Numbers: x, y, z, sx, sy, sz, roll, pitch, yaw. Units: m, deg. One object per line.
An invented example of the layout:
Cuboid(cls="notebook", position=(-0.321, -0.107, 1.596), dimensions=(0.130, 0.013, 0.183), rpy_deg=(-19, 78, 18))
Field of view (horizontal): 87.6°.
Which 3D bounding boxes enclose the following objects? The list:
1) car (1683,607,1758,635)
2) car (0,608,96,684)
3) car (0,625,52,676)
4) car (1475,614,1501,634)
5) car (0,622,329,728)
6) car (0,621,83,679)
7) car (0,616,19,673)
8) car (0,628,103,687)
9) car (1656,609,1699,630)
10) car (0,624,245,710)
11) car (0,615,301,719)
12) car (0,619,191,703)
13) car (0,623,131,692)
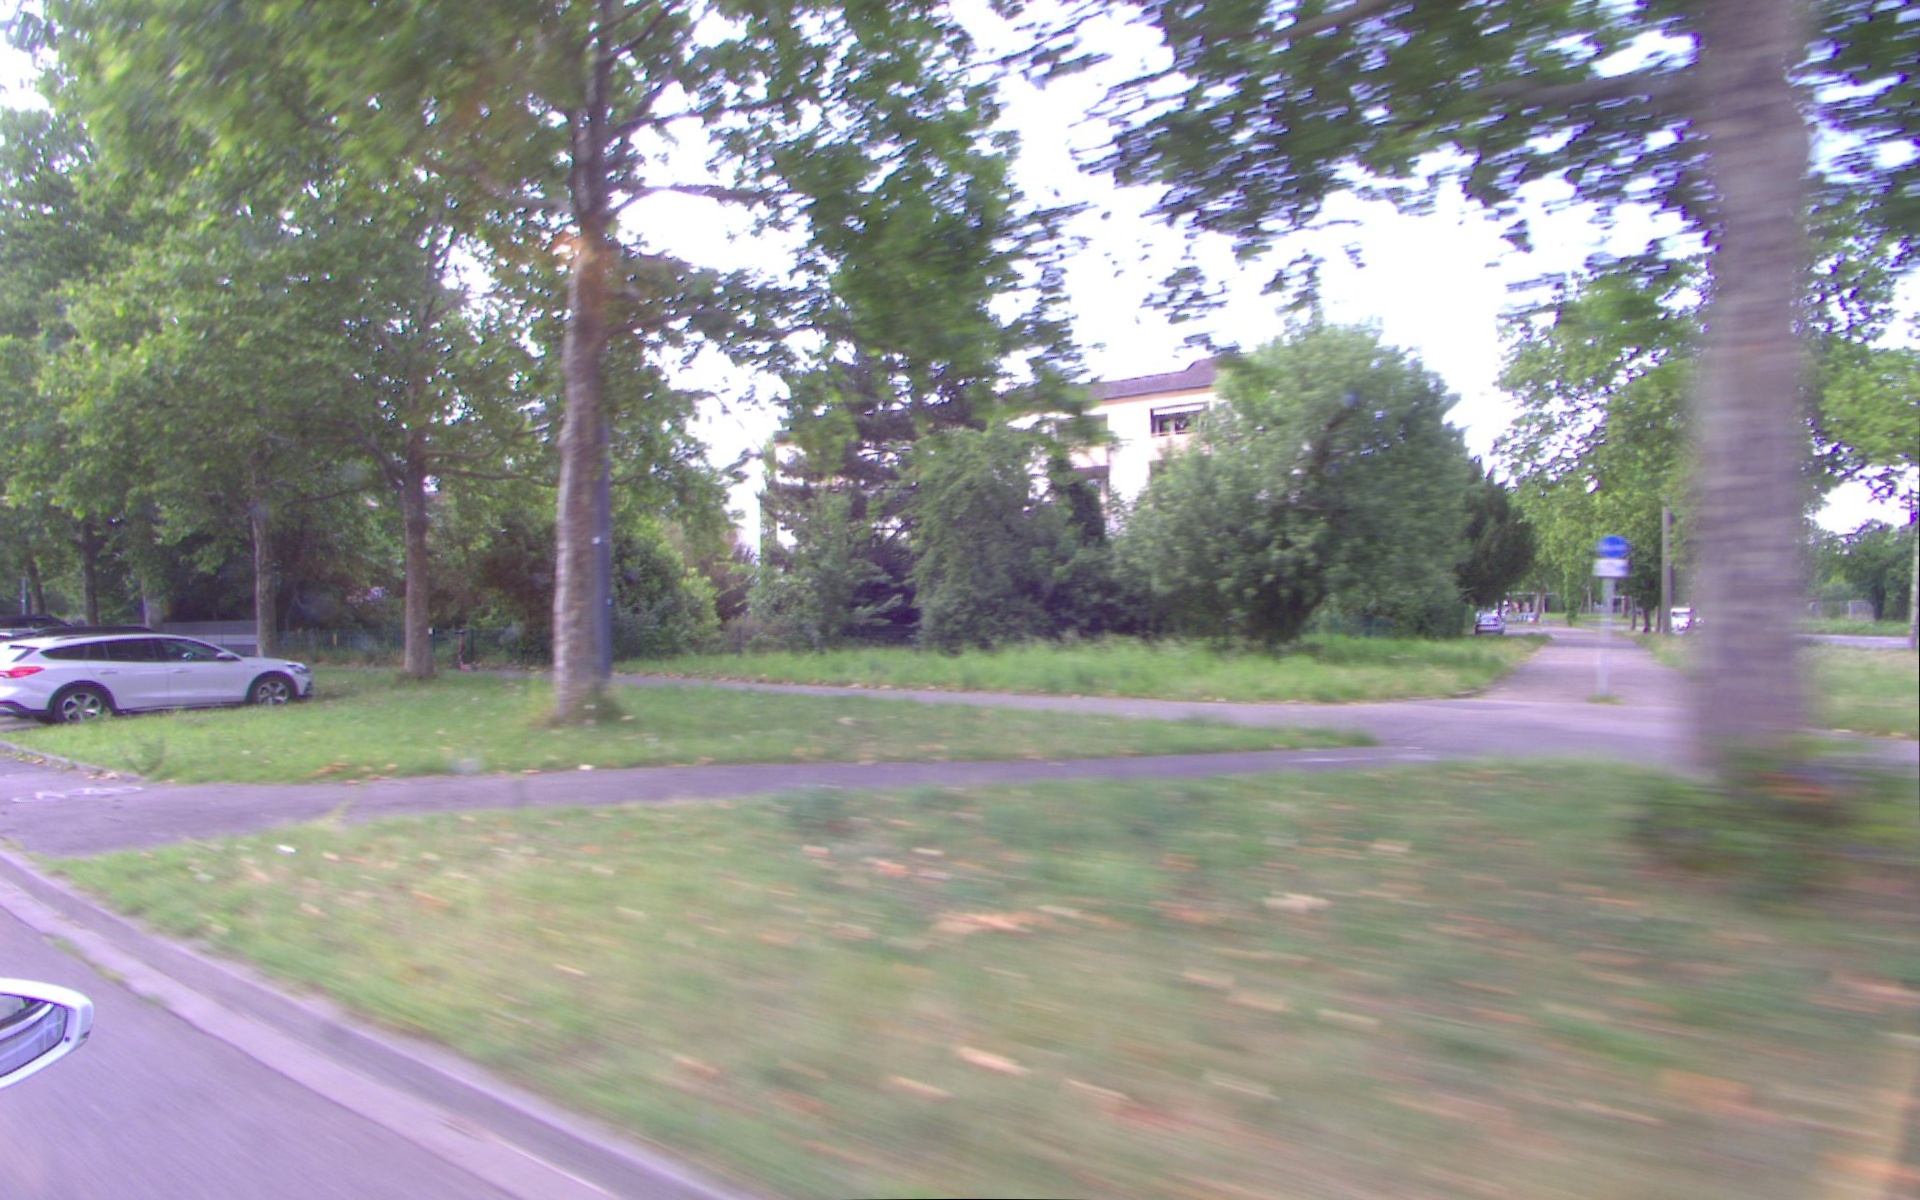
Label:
Cuboid(cls="car", position=(44.201, 1.198, 58.317), dimensions=(1.964, 1.533, 4.680), rpy_deg=(-2, -1, 17))
Cuboid(cls="car", position=(-28.615, 1.369, 29.469), dimensions=(1.833, 2.151, 4.526), rpy_deg=(-1, 0, 39))
Cuboid(cls="car", position=(-33.607, 1.758, 33.462), dimensions=(1.831, 1.682, 4.532), rpy_deg=(-1, 0, 35))
Cuboid(cls="car", position=(38.841, 1.752, 73.605), dimensions=(1.653, 1.409, 3.293), rpy_deg=(-1, -1, 28))
Cuboid(cls="car", position=(-14.037, 1.191, 17.606), dimensions=(1.823, 1.493, 4.643), rpy_deg=(-1, 0, 35))
Cuboid(cls="car", position=(-31.402, 1.630, 32.209), dimensions=(1.833, 1.789, 4.526), rpy_deg=(-1, 0, 39))
Cuboid(cls="car", position=(-35.868, 1.617, 34.656), dimensions=(1.831, 2.027, 4.531), rpy_deg=(-1, 0, 35))
Cuboid(cls="car", position=(-26.291, 1.608, 27.482), dimensions=(1.735, 1.514, 3.949), rpy_deg=(-2, -1, 39))
Cuboid(cls="car", position=(58.508, 1.587, 81.728), dimensions=(1.966, 1.728, 3.990), rpy_deg=(-1, -1, 23))
Cuboid(cls="car", position=(-17.654, 1.318, 20.738), dimensions=(1.736, 1.521, 4.359), rpy_deg=(-1, 0, 41))
Cuboid(cls="car", position=(-15.614, 1.170, 19.168), dimensions=(1.823, 1.647, 4.643), rpy_deg=(-1, 0, 35))
Cuboid(cls="car", position=(-19.839, 1.311, 22.029), dimensions=(1.736, 1.661, 4.359), rpy_deg=(-1, 0, 41))
Cuboid(cls="car", position=(-24.078, 1.459, 25.701), dimensions=(1.729, 1.626, 3.961), rpy_deg=(-1, 0, 29))
